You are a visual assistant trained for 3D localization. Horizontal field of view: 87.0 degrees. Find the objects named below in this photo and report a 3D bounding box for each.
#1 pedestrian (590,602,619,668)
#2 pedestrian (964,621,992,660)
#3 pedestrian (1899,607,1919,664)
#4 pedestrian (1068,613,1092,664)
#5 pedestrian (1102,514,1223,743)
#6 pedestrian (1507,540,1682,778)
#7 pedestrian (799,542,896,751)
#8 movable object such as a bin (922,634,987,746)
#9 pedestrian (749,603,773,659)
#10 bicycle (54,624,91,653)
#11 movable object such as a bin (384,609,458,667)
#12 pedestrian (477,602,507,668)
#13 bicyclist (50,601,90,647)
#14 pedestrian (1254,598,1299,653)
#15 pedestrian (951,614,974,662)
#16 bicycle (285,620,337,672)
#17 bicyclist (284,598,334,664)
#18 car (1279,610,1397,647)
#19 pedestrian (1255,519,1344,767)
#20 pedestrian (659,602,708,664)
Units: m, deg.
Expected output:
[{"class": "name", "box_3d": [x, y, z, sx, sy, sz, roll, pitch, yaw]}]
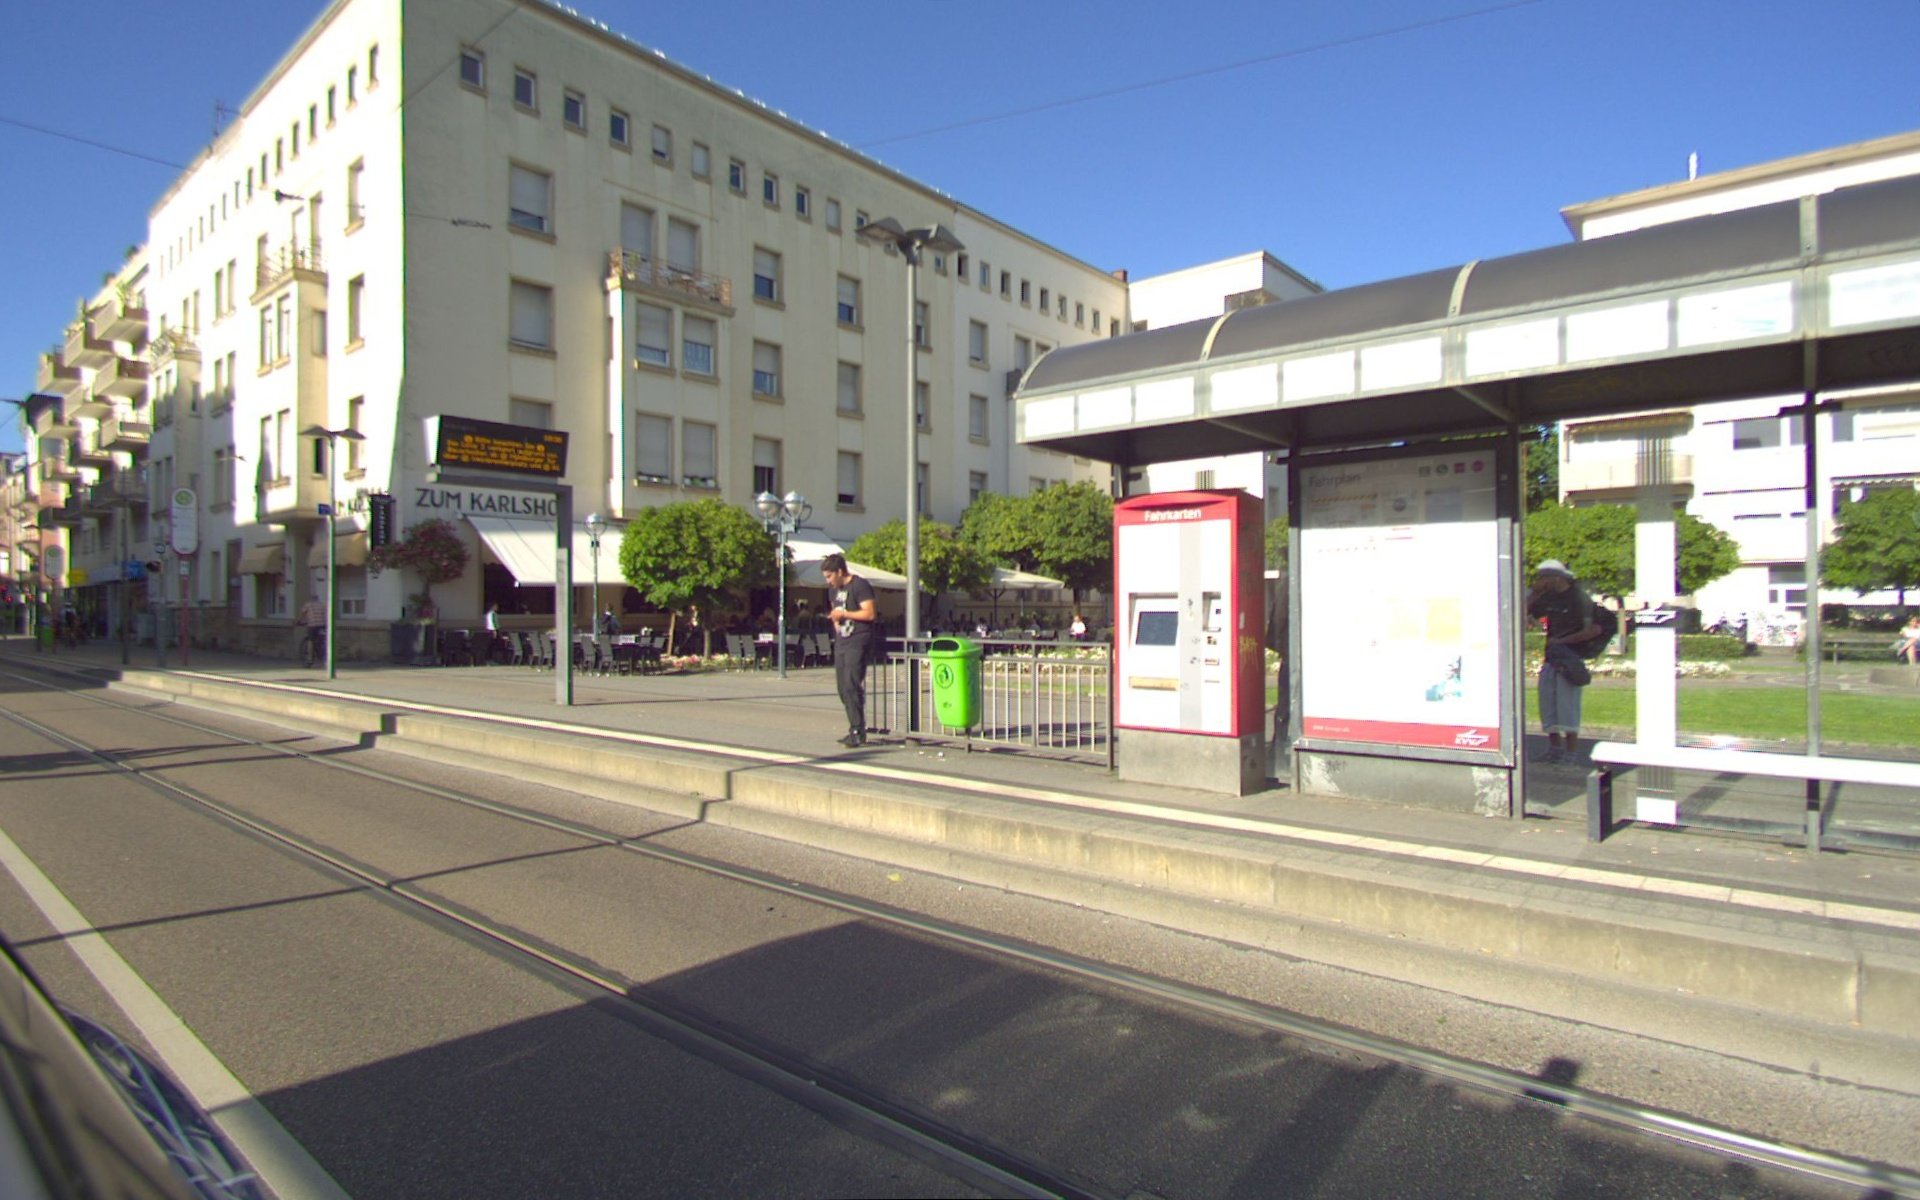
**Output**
[{"class": "pedestrian", "box_3d": [-9.030, 0.898, 25.712, 0.662, 1.657, 0.679, -1, -4, -17]}, {"class": "pedestrian", "box_3d": [0.587, 1.346, 33.611, 0.643, 1.280, 0.665, -4, -4, 36]}, {"class": "pedestrian", "box_3d": [23.442, 0.852, 24.655, 0.678, 1.370, 1.039, -1, -1, 36]}, {"class": "pedestrian", "box_3d": [4.156, 1.350, 35.152, 0.710, 1.750, 0.673, -2, -4, 1]}, {"class": "pedestrian", "box_3d": [1.684, 0.237, 8.408, 0.769, 1.788, 0.608, -1, -4, 43]}, {"class": "pedestrian", "box_3d": [4.951, 0.435, 7.893, 0.974, 1.693, 0.982, -1, -2, 43]}, {"class": "pedestrian", "box_3d": [-0.979, 0.399, 8.818, 0.607, 1.731, 0.542, -1, -3, 43]}, {"class": "movable object such as a bin", "box_3d": [-0.044, 0.713, 8.197, 0.416, 0.866, 0.332, -1, -1, 44]}, {"class": "pedestrian", "box_3d": [-6.549, 1.017, 33.290, 0.640, 1.837, 0.576, 0, -1, 5]}, {"class": "bicycle", "box_3d": [-36.006, 1.551, 41.044, 2.032, 1.134, 0.705, -1, -1, 36]}, {"class": "movable object such as a bin", "box_3d": [-13.528, 0.936, 25.414, 1.127, 1.410, 1.302, -1, -1, 39]}, {"class": "pedestrian", "box_3d": [-12.005, 0.911, 25.991, 0.662, 1.657, 0.753, 0, -4, -22]}, {"class": "bicyclist", "box_3d": [-36.080, 0.972, 41.039, 1.093, 1.807, 0.995, -1, -1, 36]}, {"class": "pedestrian", "box_3d": [10.658, 0.855, 34.091, 1.065, 1.801, 1.178, 0, -1, -3]}, {"class": "pedestrian", "box_3d": [0.110, 1.421, 38.000, 0.677, 1.750, 0.671, -3, -4, 13]}, {"class": "bicycle", "box_3d": [-14.913, 1.032, 23.229, 0.719, 1.121, 1.979, 0, 0, -41]}, {"class": "bicyclist", "box_3d": [-14.990, 0.690, 23.301, 0.817, 1.466, 0.878, -1, 0, -42]}, {"class": "car", "box_3d": [14.103, 1.045, 37.851, 3.713, 1.310, 1.973, -1, -1, 41]}, {"class": "pedestrian", "box_3d": [2.675, 0.333, 7.979, 0.526, 1.873, 0.423, -1, -4, 44]}, {"class": "pedestrian", "box_3d": [-7.664, 0.930, 28.090, 0.755, 1.657, 1.054, -4, -4, 36]}]
